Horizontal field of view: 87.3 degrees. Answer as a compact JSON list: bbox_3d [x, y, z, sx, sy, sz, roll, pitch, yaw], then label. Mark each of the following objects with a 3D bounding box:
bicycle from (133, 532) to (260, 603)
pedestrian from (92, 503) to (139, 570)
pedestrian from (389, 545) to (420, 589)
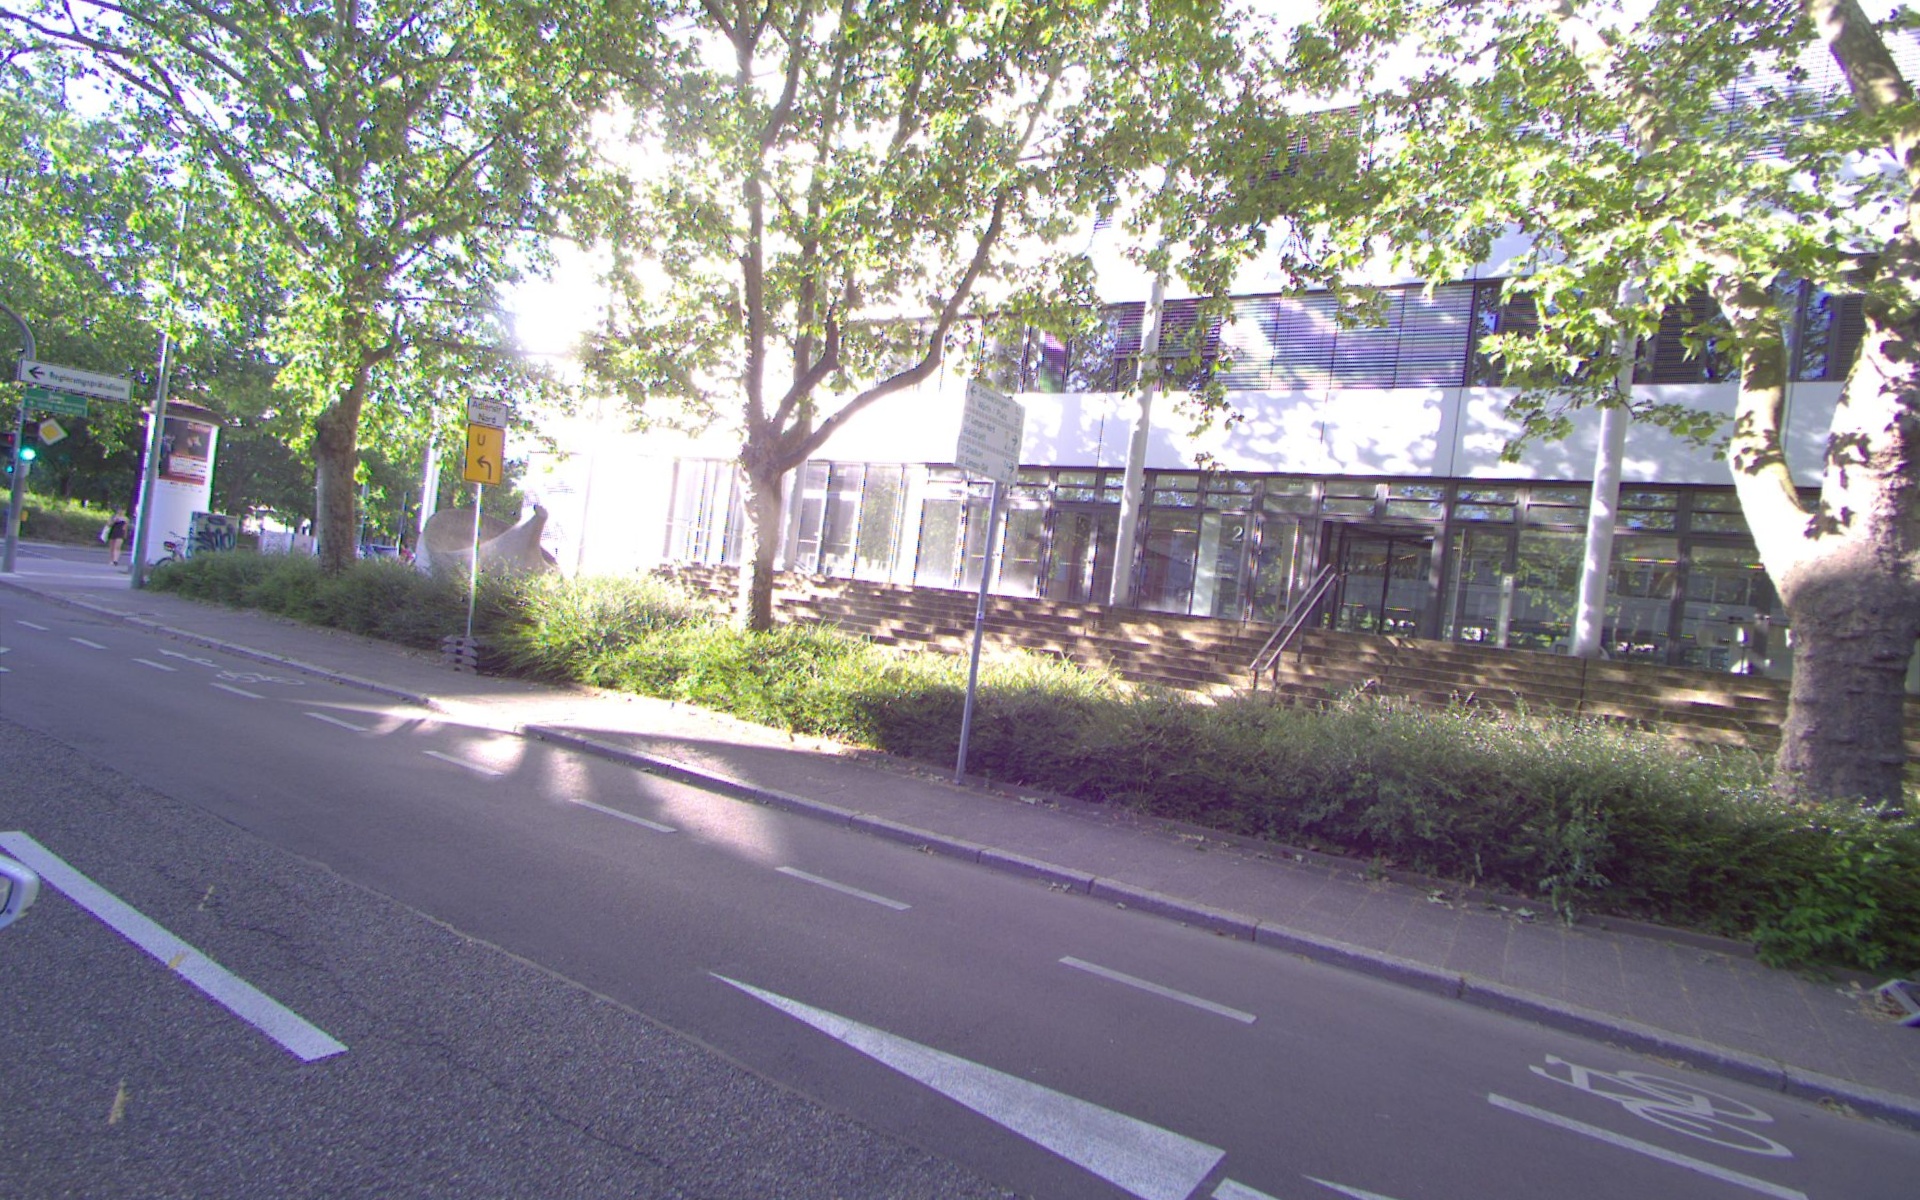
[{"bbox_3d":[-15.937,-0.655,21.060,0.519,1.203,1.980,7,-2,30],"label":"bicycle"},{"bbox_3d":[-22.537,-1.687,26.839,0.795,1.649,0.897,8,-1,-41],"label":"pedestrian"},{"bbox_3d":[-25.166,-1.507,45.566,0.674,1.857,0.782,7,-1,25],"label":"pedestrian"}]
